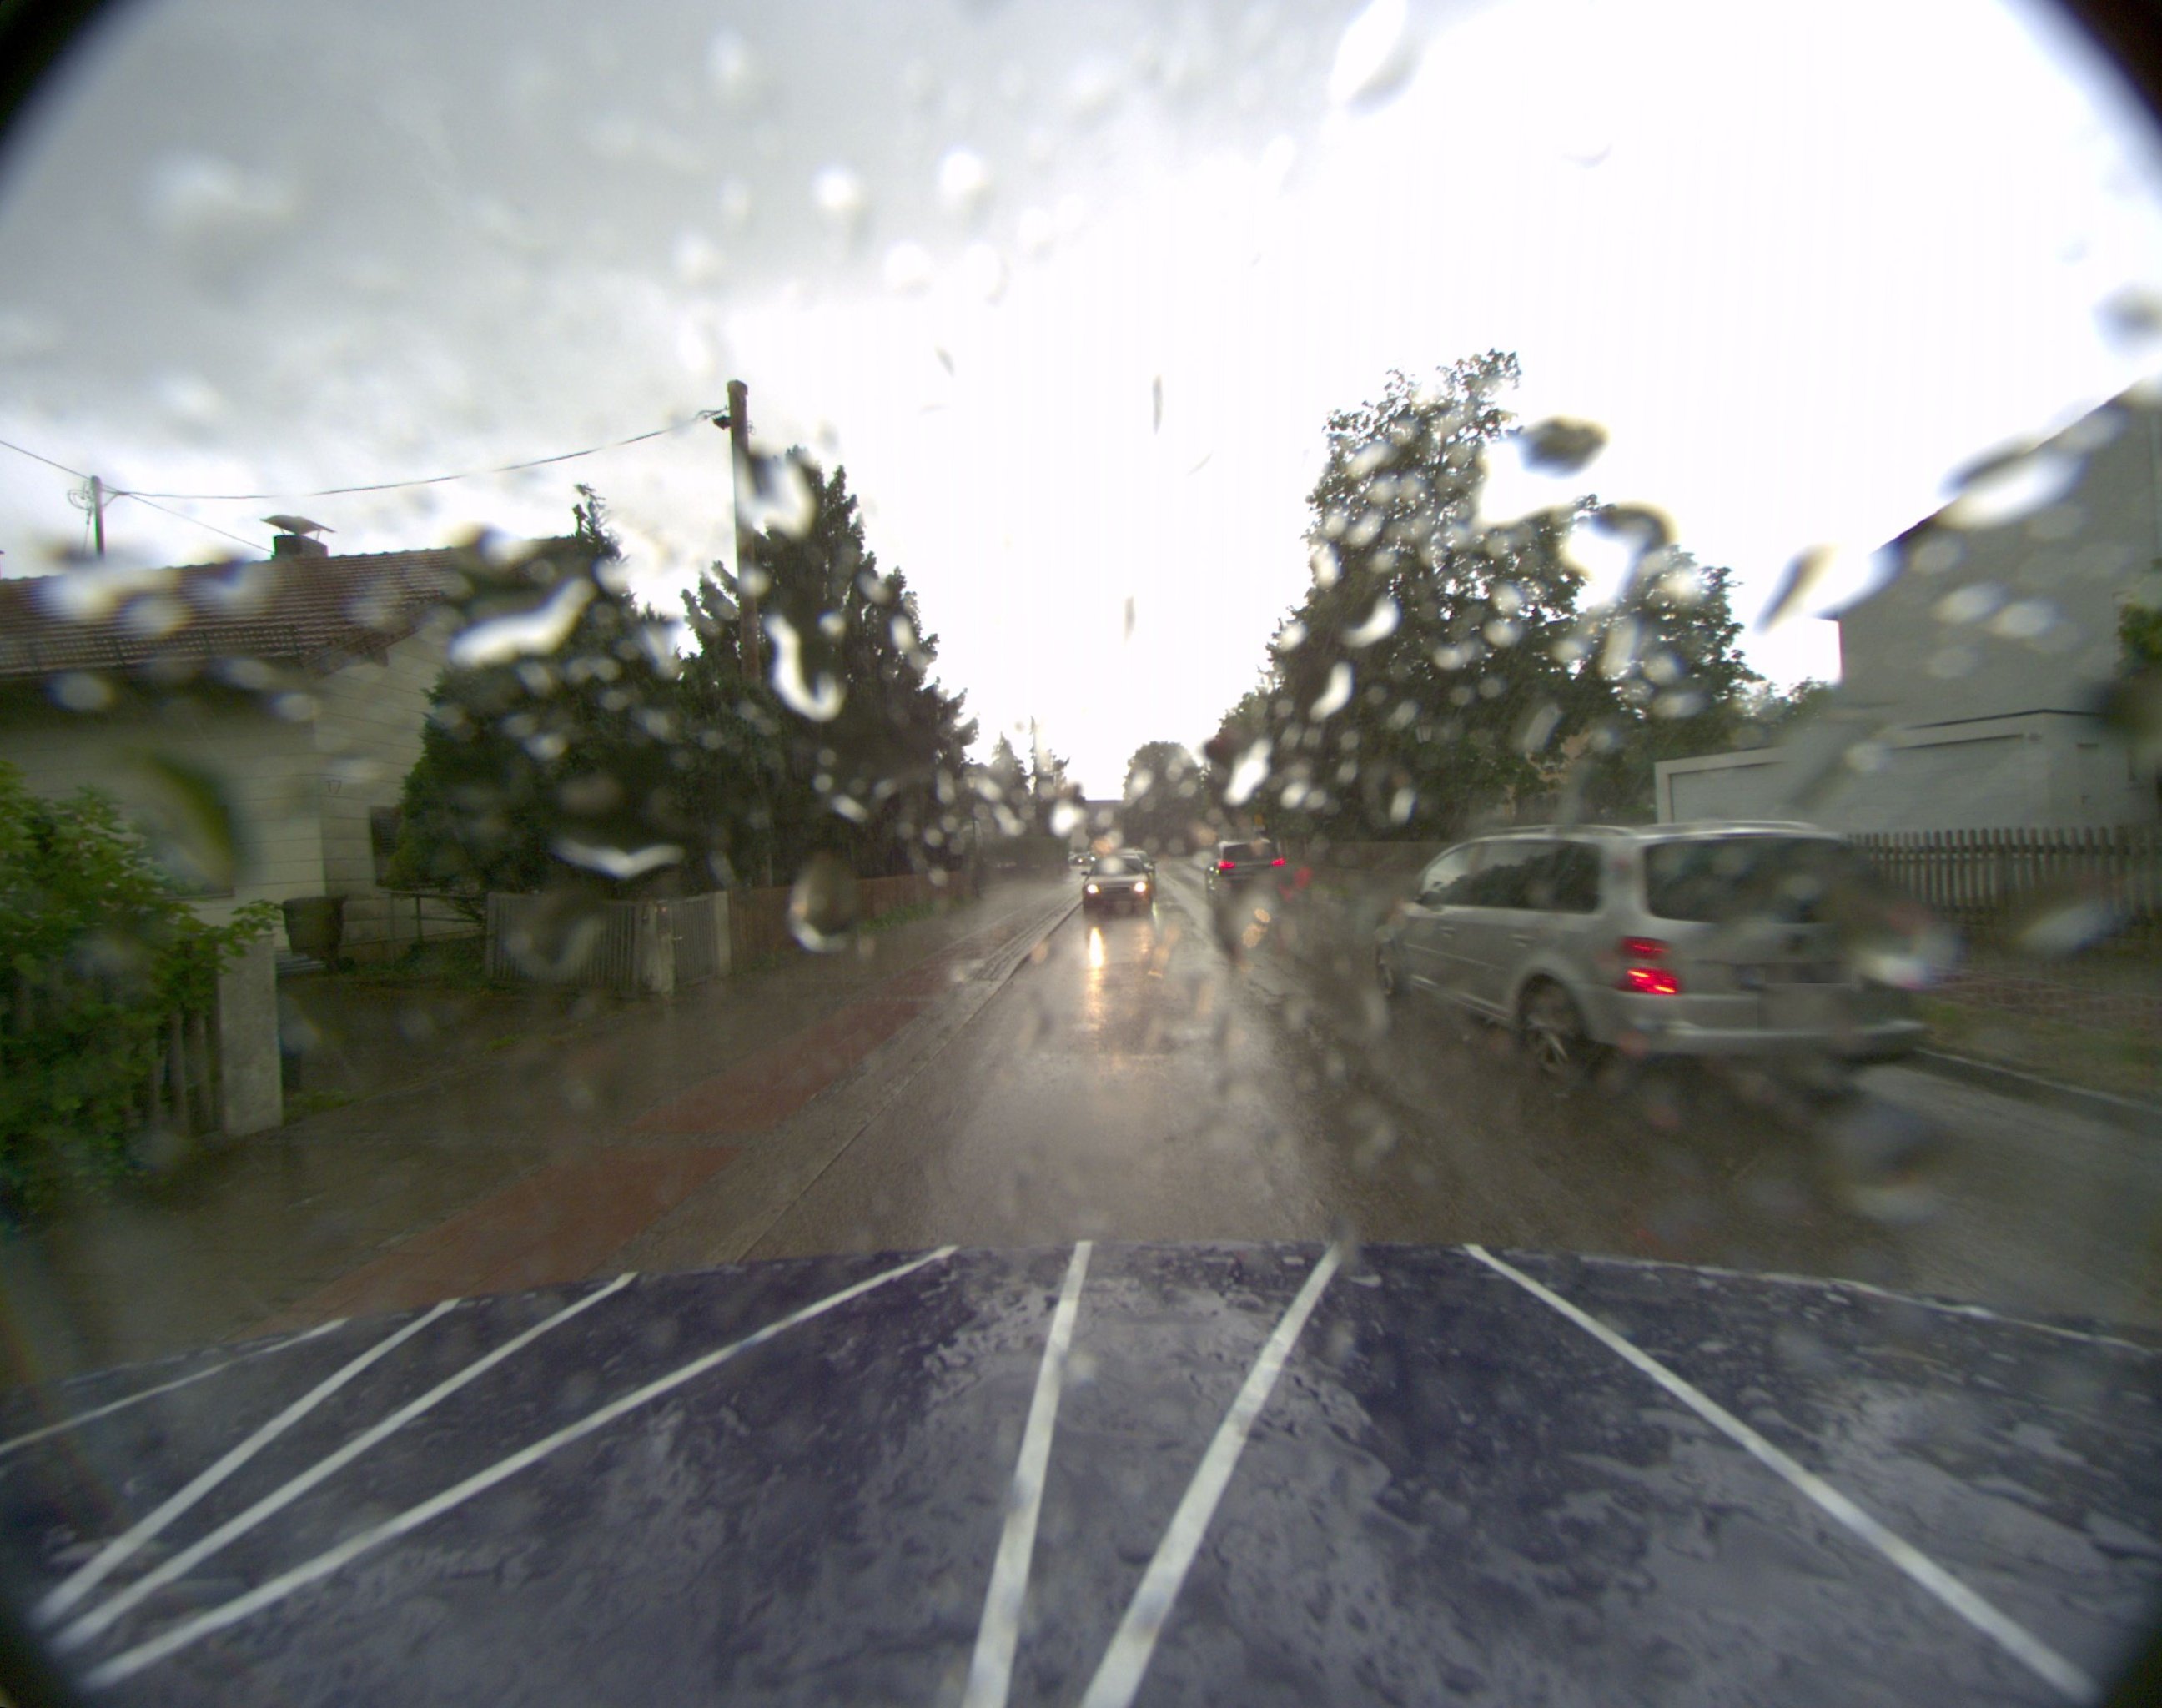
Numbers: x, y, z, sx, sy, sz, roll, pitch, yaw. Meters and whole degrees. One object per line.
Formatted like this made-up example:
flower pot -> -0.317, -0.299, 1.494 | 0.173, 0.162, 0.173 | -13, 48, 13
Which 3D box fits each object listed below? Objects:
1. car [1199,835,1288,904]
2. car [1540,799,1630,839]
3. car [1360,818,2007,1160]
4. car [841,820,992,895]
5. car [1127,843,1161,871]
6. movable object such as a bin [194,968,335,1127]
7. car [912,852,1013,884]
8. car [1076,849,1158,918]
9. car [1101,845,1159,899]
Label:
car -> 4.543, 0.373, 21.827 | 1.926, 1.734, 4.192 | -2, 1, 4
car -> 28.387, -1.936, 42.885 | 1.844, 1.792, 3.650 | -6, 0, -30
car -> 3.706, 0.650, 5.750 | 1.757, 1.668, 4.000 | -1, 1, 1
car -> -6.058, 0.107, 28.604 | 5.319, 2.712, 1.999 | 0, 1, -5
car -> 3.923, 0.137, 47.566 | 1.872, 1.512, 4.961 | -5, 1, 4
movable object such as a bin -> -5.392, 1.258, 5.035 | 0.434, 0.930, 0.447 | 0, 1, 4
car -> -5.438, 0.648, 35.275 | 4.442, 1.413, 1.829 | 0, 1, -4
car -> 0.995, 0.689, 20.085 | 1.872, 1.512, 4.189 | -3, 1, 4
car -> 1.839, 0.591, 28.365 | 1.872, 1.603, 4.961 | -5, 1, 4
